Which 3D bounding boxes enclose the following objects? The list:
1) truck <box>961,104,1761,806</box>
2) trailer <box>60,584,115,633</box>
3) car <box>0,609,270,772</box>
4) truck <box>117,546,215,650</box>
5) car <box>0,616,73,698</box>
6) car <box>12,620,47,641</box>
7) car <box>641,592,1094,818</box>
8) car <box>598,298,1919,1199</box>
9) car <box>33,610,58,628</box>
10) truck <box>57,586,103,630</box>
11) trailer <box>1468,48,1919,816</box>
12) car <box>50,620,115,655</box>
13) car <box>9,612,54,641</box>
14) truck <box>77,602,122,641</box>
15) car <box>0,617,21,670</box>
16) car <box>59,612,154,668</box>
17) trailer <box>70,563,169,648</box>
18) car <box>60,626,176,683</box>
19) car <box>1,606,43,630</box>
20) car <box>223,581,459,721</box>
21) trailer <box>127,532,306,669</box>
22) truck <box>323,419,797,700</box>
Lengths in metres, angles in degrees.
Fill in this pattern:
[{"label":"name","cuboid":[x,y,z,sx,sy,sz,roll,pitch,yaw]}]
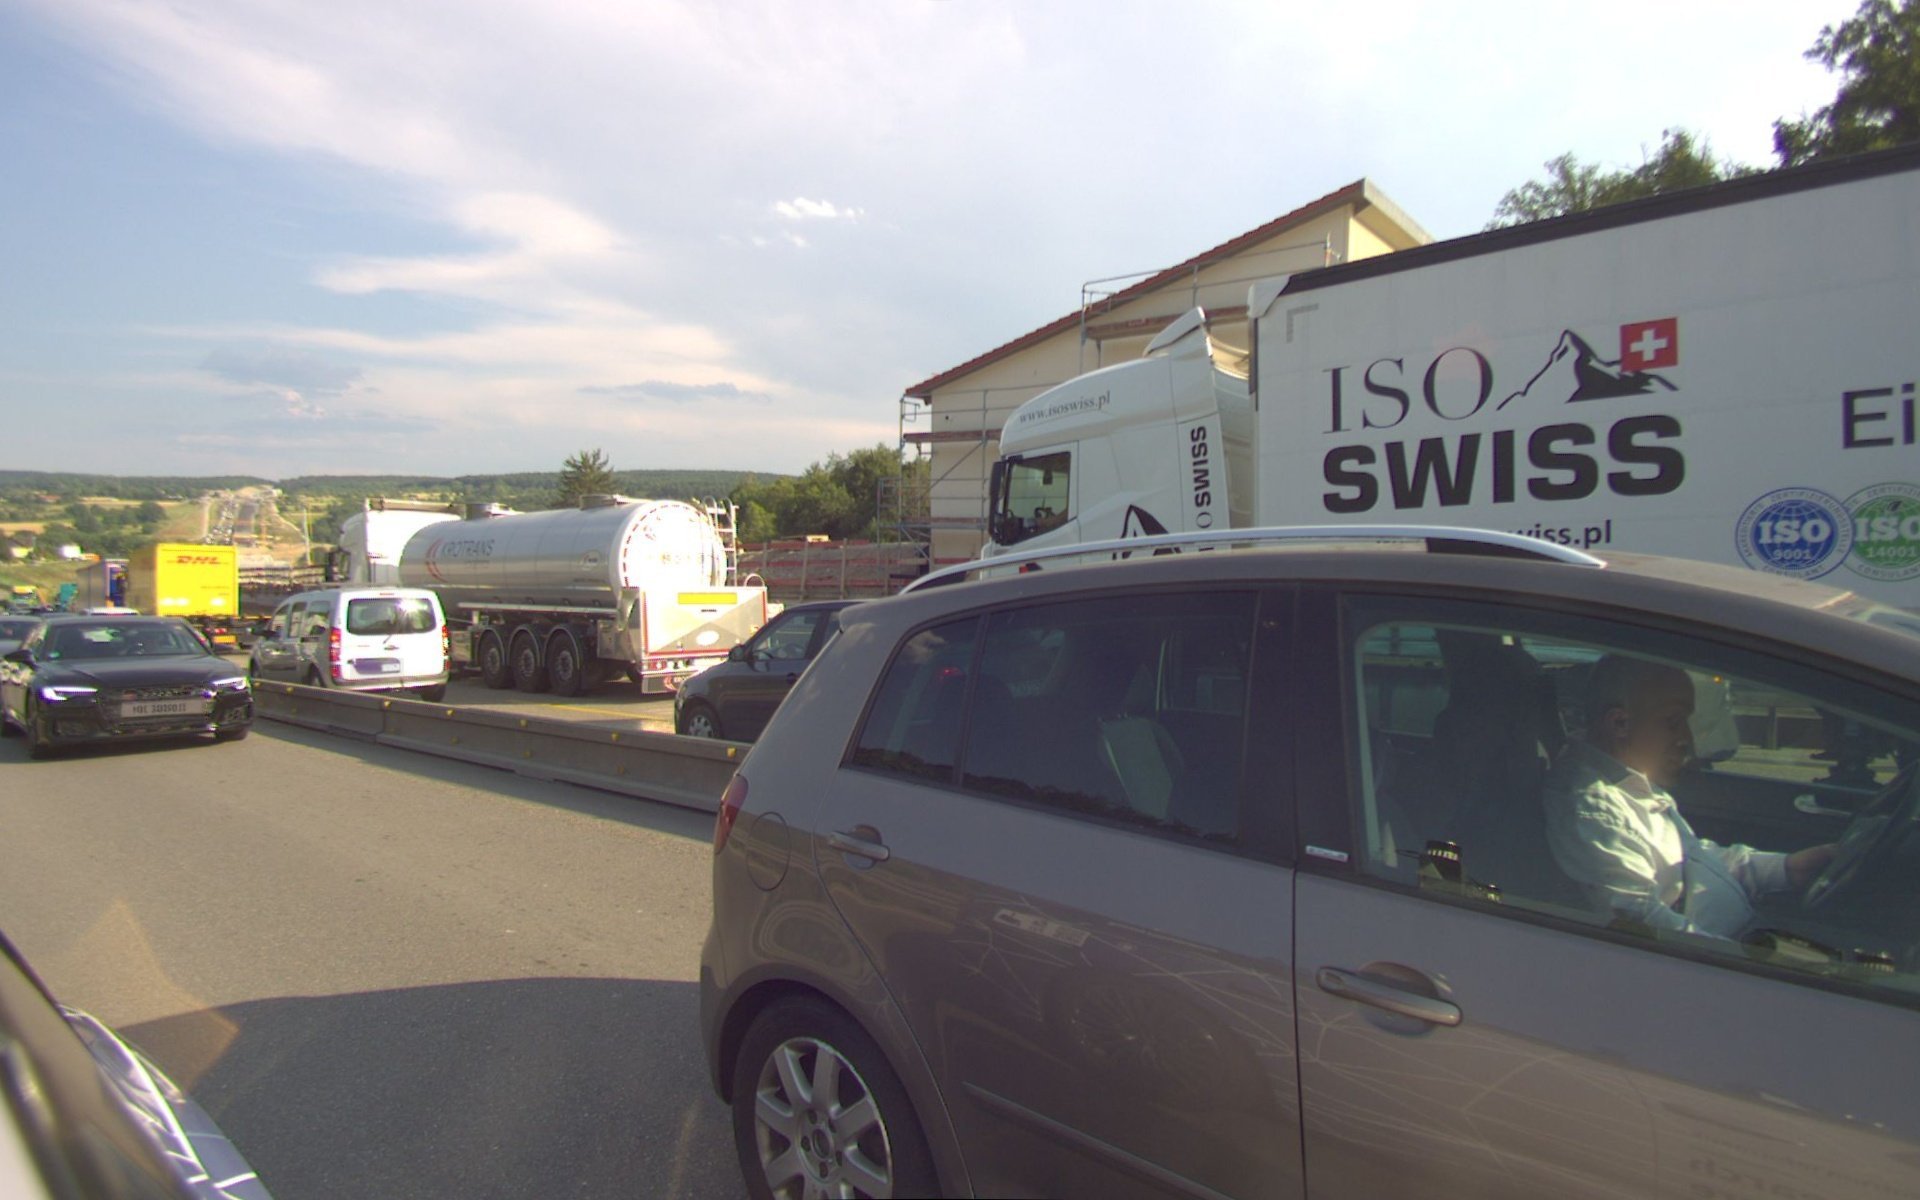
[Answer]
[{"label":"truck","cuboid":[3.189,-0.903,9.198,6.319,4.304,2.418,0,0,41]},{"label":"trailer","cuboid":[-74.416,0.734,86.150,2.716,3.845,16.061,2,-2,-43]},{"label":"car","cuboid":[-10.002,0.882,11.966,5.222,1.491,1.919,0,-1,43]},{"label":"truck","cuboid":[-34.300,-0.090,43.694,4.399,4.228,2.664,0,0,43]},{"label":"car","cuboid":[-19.173,1.084,20.304,4.120,1.498,1.785,0,-1,45]},{"label":"car","cuboid":[-70.867,2.295,77.023,1.768,1.509,4.727,1,0,-45]},{"label":"car","cuboid":[-0.932,0.744,8.678,3.844,1.518,1.653,-1,-1,40]},{"label":"car","cuboid":[1.227,0.515,1.816,4.144,1.599,1.683,1,0,40]},{"label":"car","cuboid":[-109.945,2.293,121.705,1.968,2.029,4.007,1,0,-40]},{"label":"truck","cuboid":[-80.388,0.755,92.405,2.716,3.834,7.118,2,-2,-43]},{"label":"trailer","cuboid":[8.975,-0.904,4.112,12.140,4.298,2.428,1,0,41]},{"label":"car","cuboid":[-39.303,1.633,45.303,4.904,1.412,1.720,1,0,44]},{"label":"car","cuboid":[-53.472,1.500,58.243,4.293,1.519,1.697,0,0,45]},{"label":"truck","cuboid":[-95.964,2.310,112.767,3.121,4.154,12.505,2,-2,-43]},{"label":"car","cuboid":[-28.442,1.250,29.091,3.999,1.452,1.799,-1,0,42]},{"label":"car","cuboid":[-27.801,1.251,32.904,4.560,1.660,1.826,0,-1,43]},{"label":"trailer","cuboid":[-46.885,0.227,56.141,2.683,4.166,16.762,1,0,-45]},{"label":"car","cuboid":[-21.663,1.342,25.979,4.050,1.262,1.693,0,-1,42]},{"label":"car","cuboid":[-61.074,1.130,65.861,4.617,1.464,1.777,1,0,44]},{"label":"car","cuboid":[-10.060,0.755,16.287,4.861,1.931,1.814,-1,-1,40]},{"label":"trailer","cuboid":[-28.187,-0.037,37.812,16.002,4.235,2.671,1,0,44]},{"label":"truck","cuboid":[-8.778,-0.497,20.094,13.888,4.000,2.779,-1,0,42]}]
